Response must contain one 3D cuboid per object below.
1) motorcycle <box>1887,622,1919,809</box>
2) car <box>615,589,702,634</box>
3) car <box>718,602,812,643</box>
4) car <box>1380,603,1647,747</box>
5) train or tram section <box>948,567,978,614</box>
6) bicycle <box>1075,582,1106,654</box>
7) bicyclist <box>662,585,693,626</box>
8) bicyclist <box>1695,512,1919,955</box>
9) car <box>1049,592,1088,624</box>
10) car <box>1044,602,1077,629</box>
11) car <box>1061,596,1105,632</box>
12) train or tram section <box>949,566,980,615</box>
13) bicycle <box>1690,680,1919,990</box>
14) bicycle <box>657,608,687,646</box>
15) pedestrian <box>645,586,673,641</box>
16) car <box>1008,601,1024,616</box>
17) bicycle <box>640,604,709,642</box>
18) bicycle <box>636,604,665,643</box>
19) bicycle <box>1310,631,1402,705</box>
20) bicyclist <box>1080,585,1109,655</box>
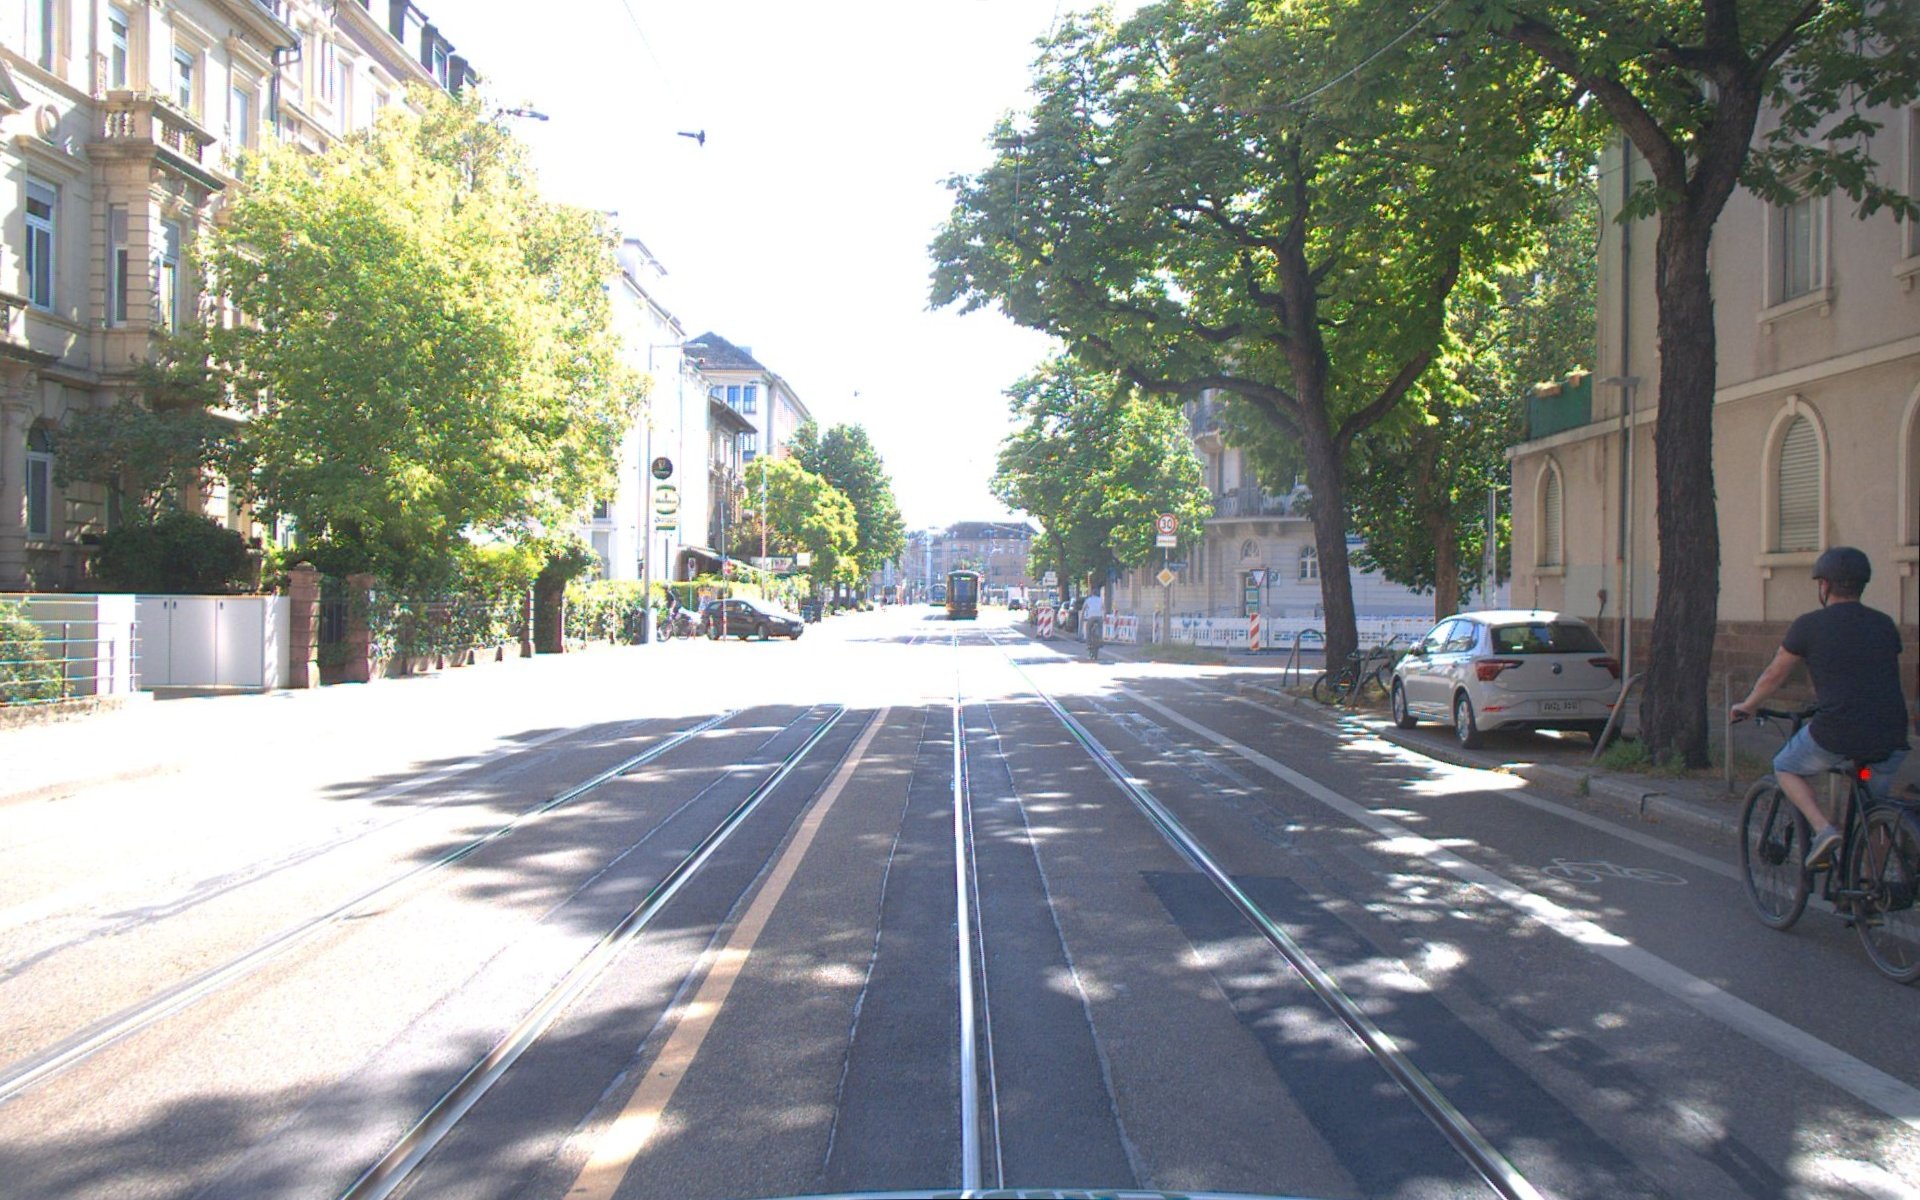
[{"bbox_3d":[6.919,0.797,10.609,0.695,1.265,2.184,-1,0,-1],"label":"motorcycle"},{"bbox_3d":[-12.004,0.460,66.064,3.347,1.668,1.669,2,0,-10],"label":"car"},{"bbox_3d":[-7.105,0.828,60.217,1.744,1.445,3.526,1,-2,-41],"label":"car"},{"bbox_3d":[6.310,0.792,19.327,1.713,1.445,3.999,-1,0,-1],"label":"car"},{"bbox_3d":[0.201,-0.752,128.206,2.109,3.491,6.610,2,0,-1],"label":"train or tram section"},{"bbox_3d":[3.534,0.463,44.905,0.649,1.891,2.260,2,0,1],"label":"bicycle"},{"bbox_3d":[-9.391,0.186,55.010,0.756,1.314,0.734,2,0,16],"label":"bicyclist"},{"bbox_3d":[3.899,0.571,7.490,0.712,1.880,0.836,2,0,-1],"label":"bicyclist"},{"bbox_3d":[5.622,0.402,85.796,1.718,1.579,3.676,2,0,-1],"label":"car"},{"bbox_3d":[6.190,0.957,101.972,1.718,1.579,3.676,1,0,-1],"label":"car"},{"bbox_3d":[5.736,0.657,77.412,1.718,1.579,3.676,2,0,-1],"label":"car"},{"bbox_3d":[0.267,-0.694,121.554,2.109,3.491,6.610,2,0,-1],"label":"train or tram section"},{"bbox_3d":[4.011,0.981,7.427,0.677,1.132,1.718,2,0,0],"label":"bicycle"},{"bbox_3d":[-8.884,0.823,51.002,0.623,1.088,1.822,1,0,-18],"label":"bicycle"},{"bbox_3d":[-9.662,0.420,53.103,0.754,1.742,0.669,2,0,0],"label":"pedestrian"},{"bbox_3d":[6.787,1.014,200.479,1.834,1.691,3.514,2,0,-1],"label":"car"},{"bbox_3d":[-9.495,0.757,55.062,2.094,1.191,0.803,2,0,15],"label":"bicycle"},{"bbox_3d":[-9.322,0.697,49.782,0.622,1.088,1.823,1,0,-17],"label":"bicycle"},{"bbox_3d":[5.908,1.011,24.728,1.243,1.042,0.704,2,-1,7],"label":"bicycle"},{"bbox_3d":[3.607,0.531,44.432,0.632,1.827,0.955,2,0,-1],"label":"bicyclist"}]
